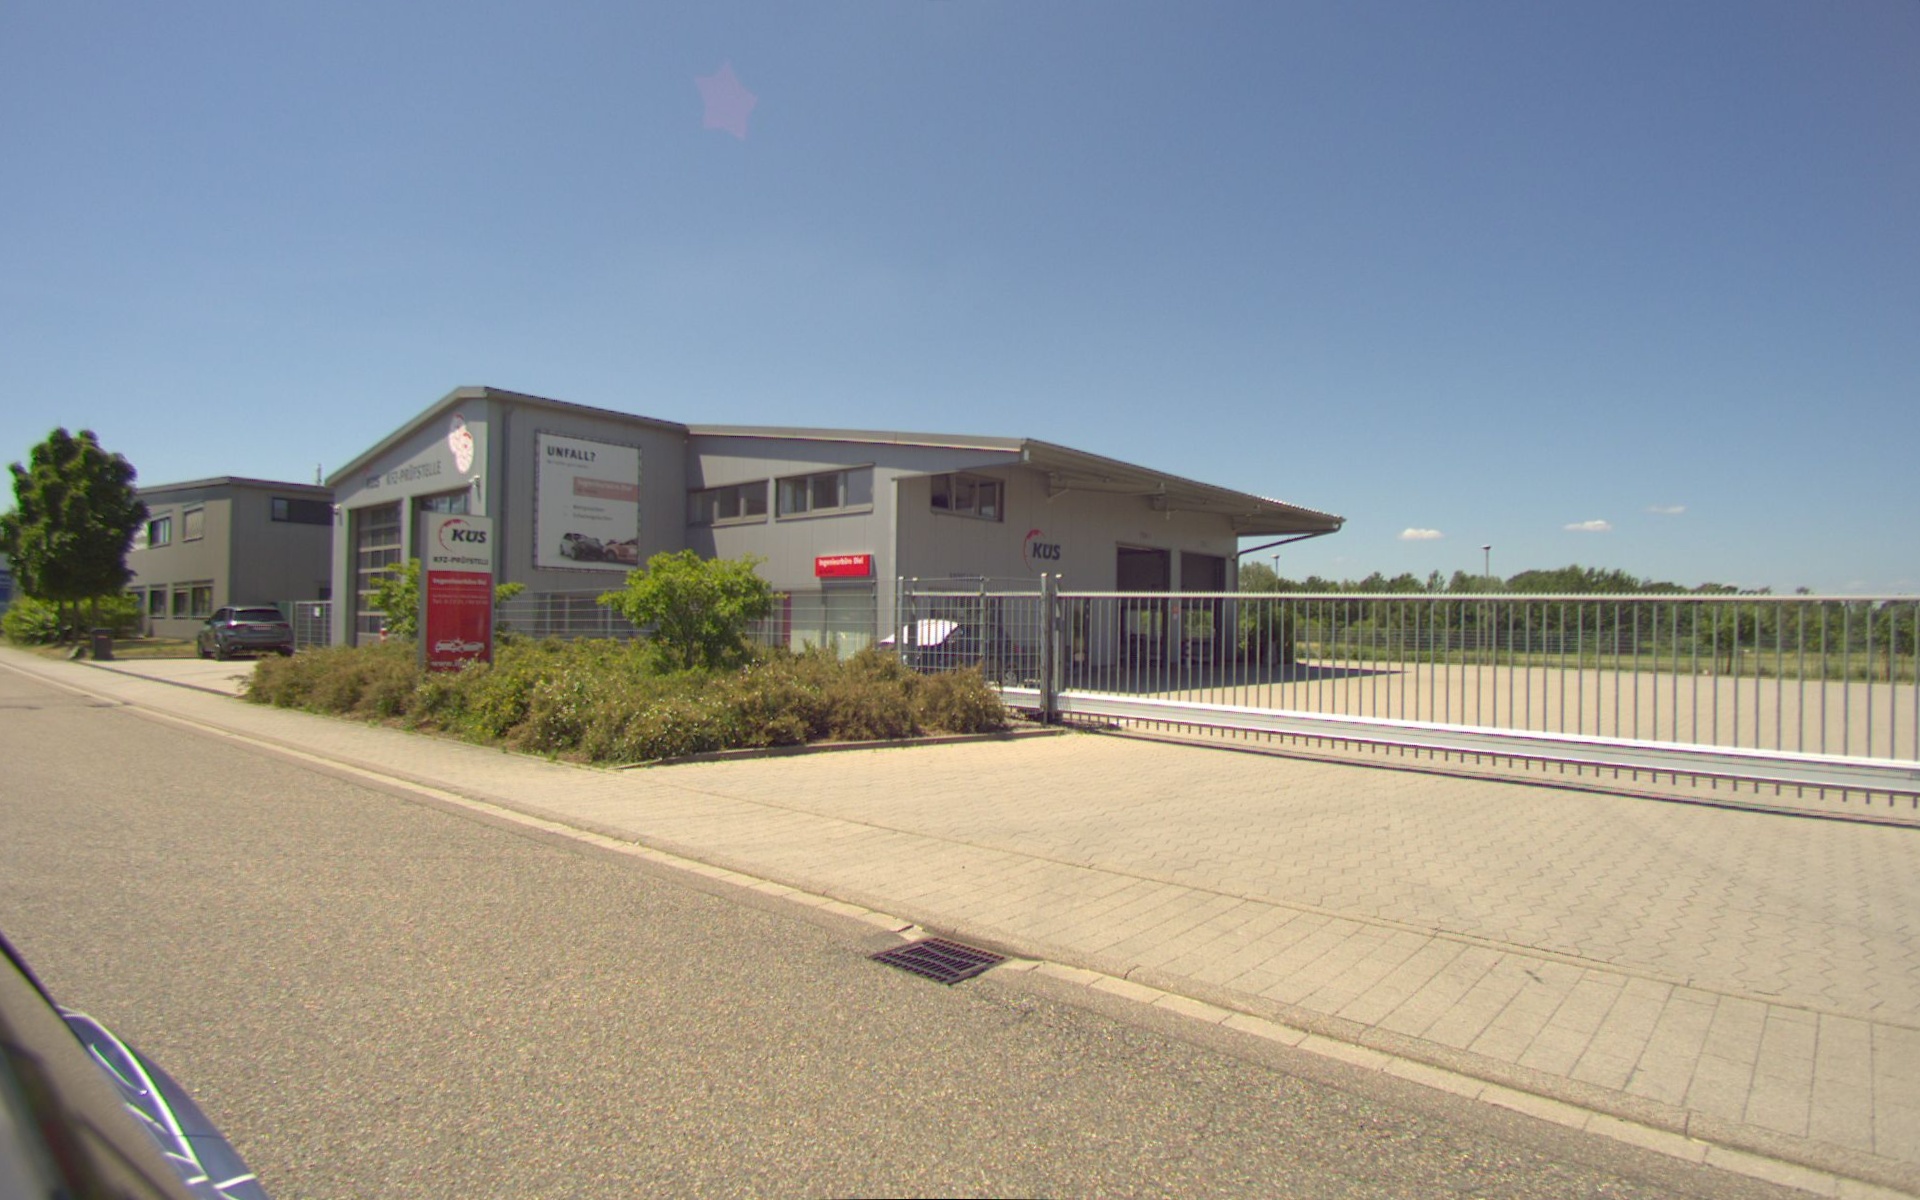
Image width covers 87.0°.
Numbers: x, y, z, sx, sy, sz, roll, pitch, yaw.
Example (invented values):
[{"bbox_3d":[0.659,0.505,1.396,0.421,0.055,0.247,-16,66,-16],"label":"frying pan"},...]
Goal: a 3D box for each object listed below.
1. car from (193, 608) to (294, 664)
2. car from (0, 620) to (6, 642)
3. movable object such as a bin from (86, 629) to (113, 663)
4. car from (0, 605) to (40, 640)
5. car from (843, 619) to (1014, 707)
[{"bbox_3d":[-23.952,1.178,33.769,1.971,1.749,4.915,0,-2,-45],"label":"car"},{"bbox_3d":[-68.911,2.183,70.996,1.534,1.529,2.713,-1,-2,40],"label":"car"},{"bbox_3d":[-27.968,1.485,32.883,0.765,1.074,0.573,-1,0,41],"label":"movable object such as a bin"},{"bbox_3d":[-54.849,1.287,58.428,5.216,1.971,1.973,0,-2,41],"label":"car"},{"bbox_3d":[-0.529,1.173,19.830,1.555,1.564,3.469,-1,-2,36],"label":"car"}]
